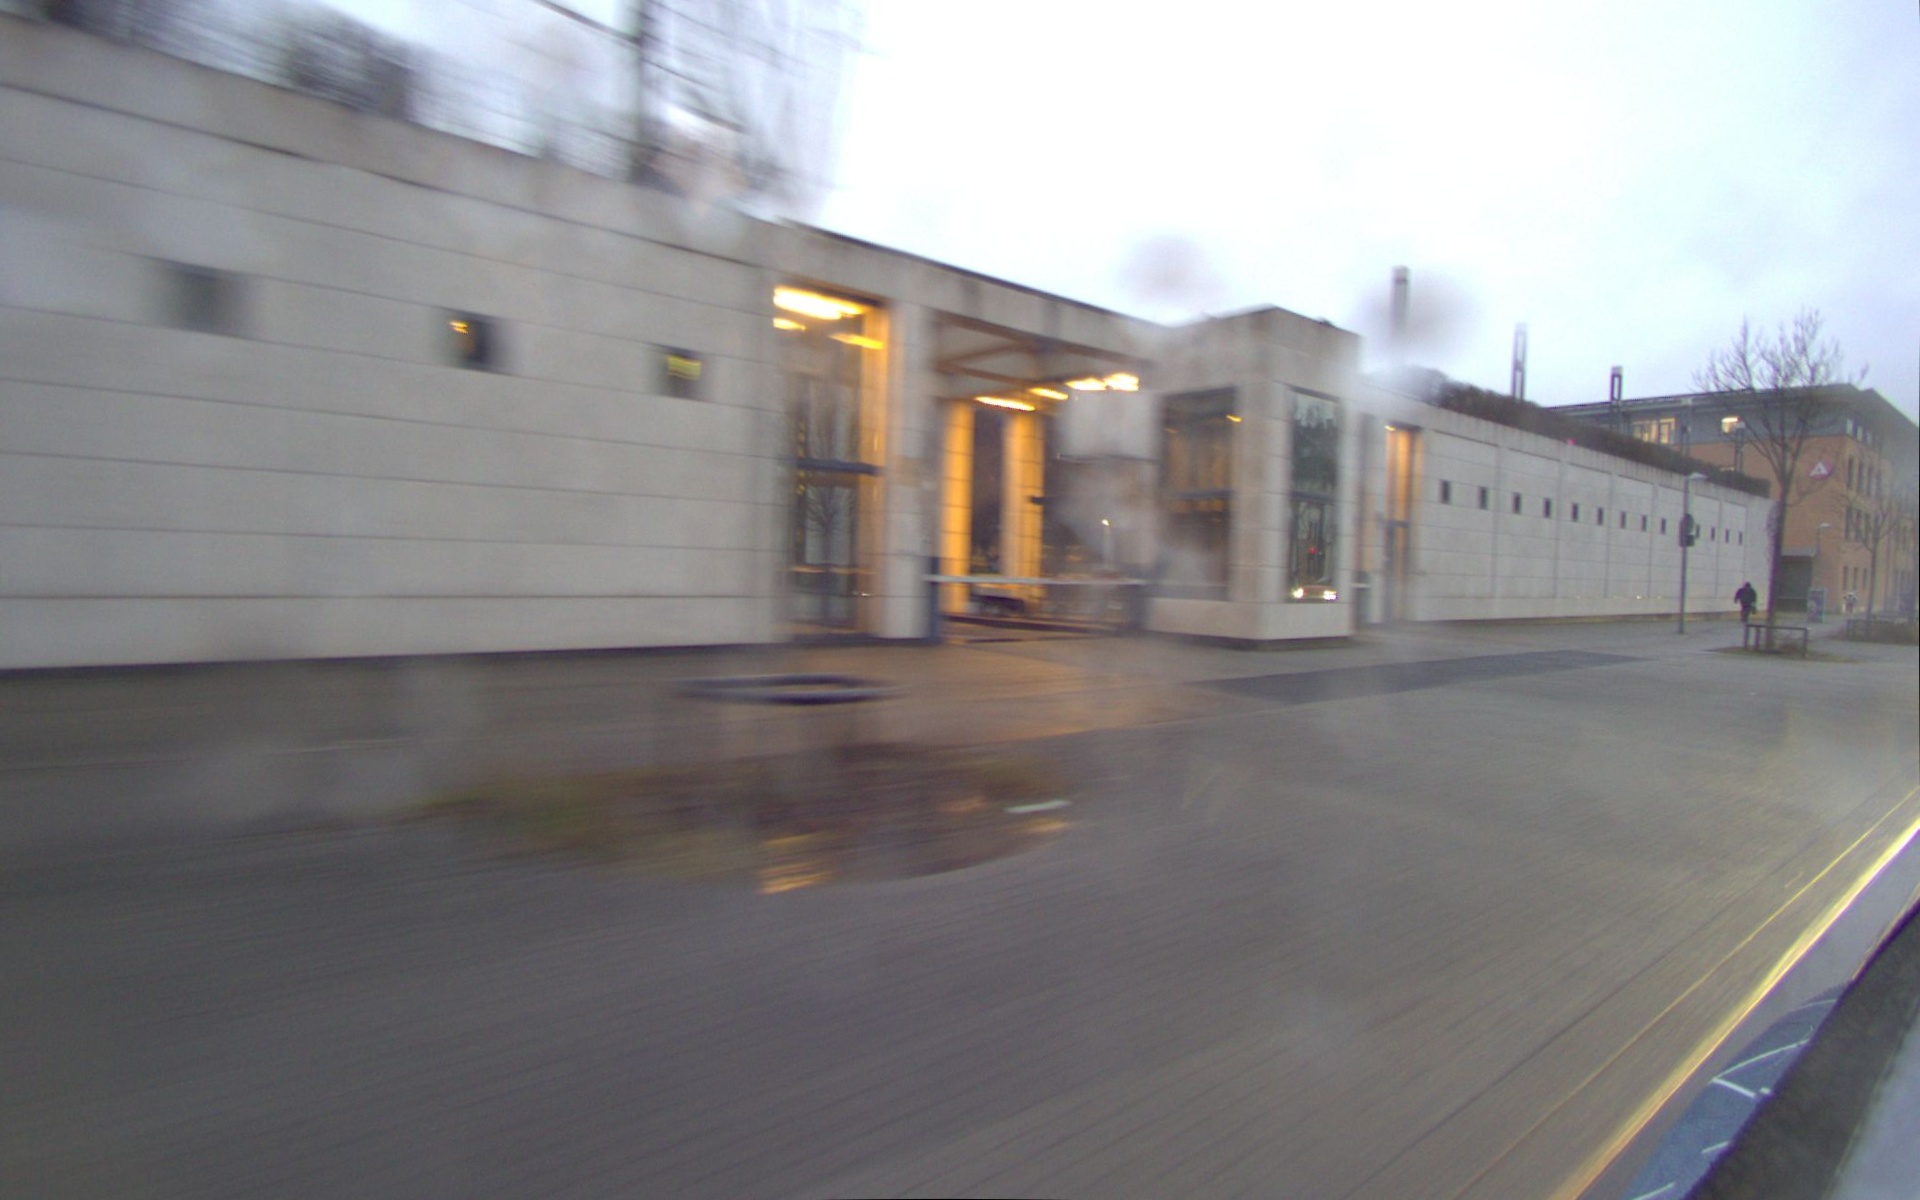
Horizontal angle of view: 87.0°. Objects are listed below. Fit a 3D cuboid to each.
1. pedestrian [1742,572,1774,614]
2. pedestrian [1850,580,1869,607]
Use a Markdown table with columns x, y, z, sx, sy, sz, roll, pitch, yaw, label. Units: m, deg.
| x | y | z | sx | sy | sz | roll | pitch | yaw | label |
| --- | --- | --- | --- | --- | --- | --- | --- | --- | --- |
| 32.973 | -0.306 | 41.825 | 0.868 | 1.650 | 0.814 | 0 | 4 | -41 | pedestrian |
| 55.445 | -0.404 | 62.382 | 0.756 | 1.668 | 0.674 | 0 | 4 | -41 | pedestrian |
